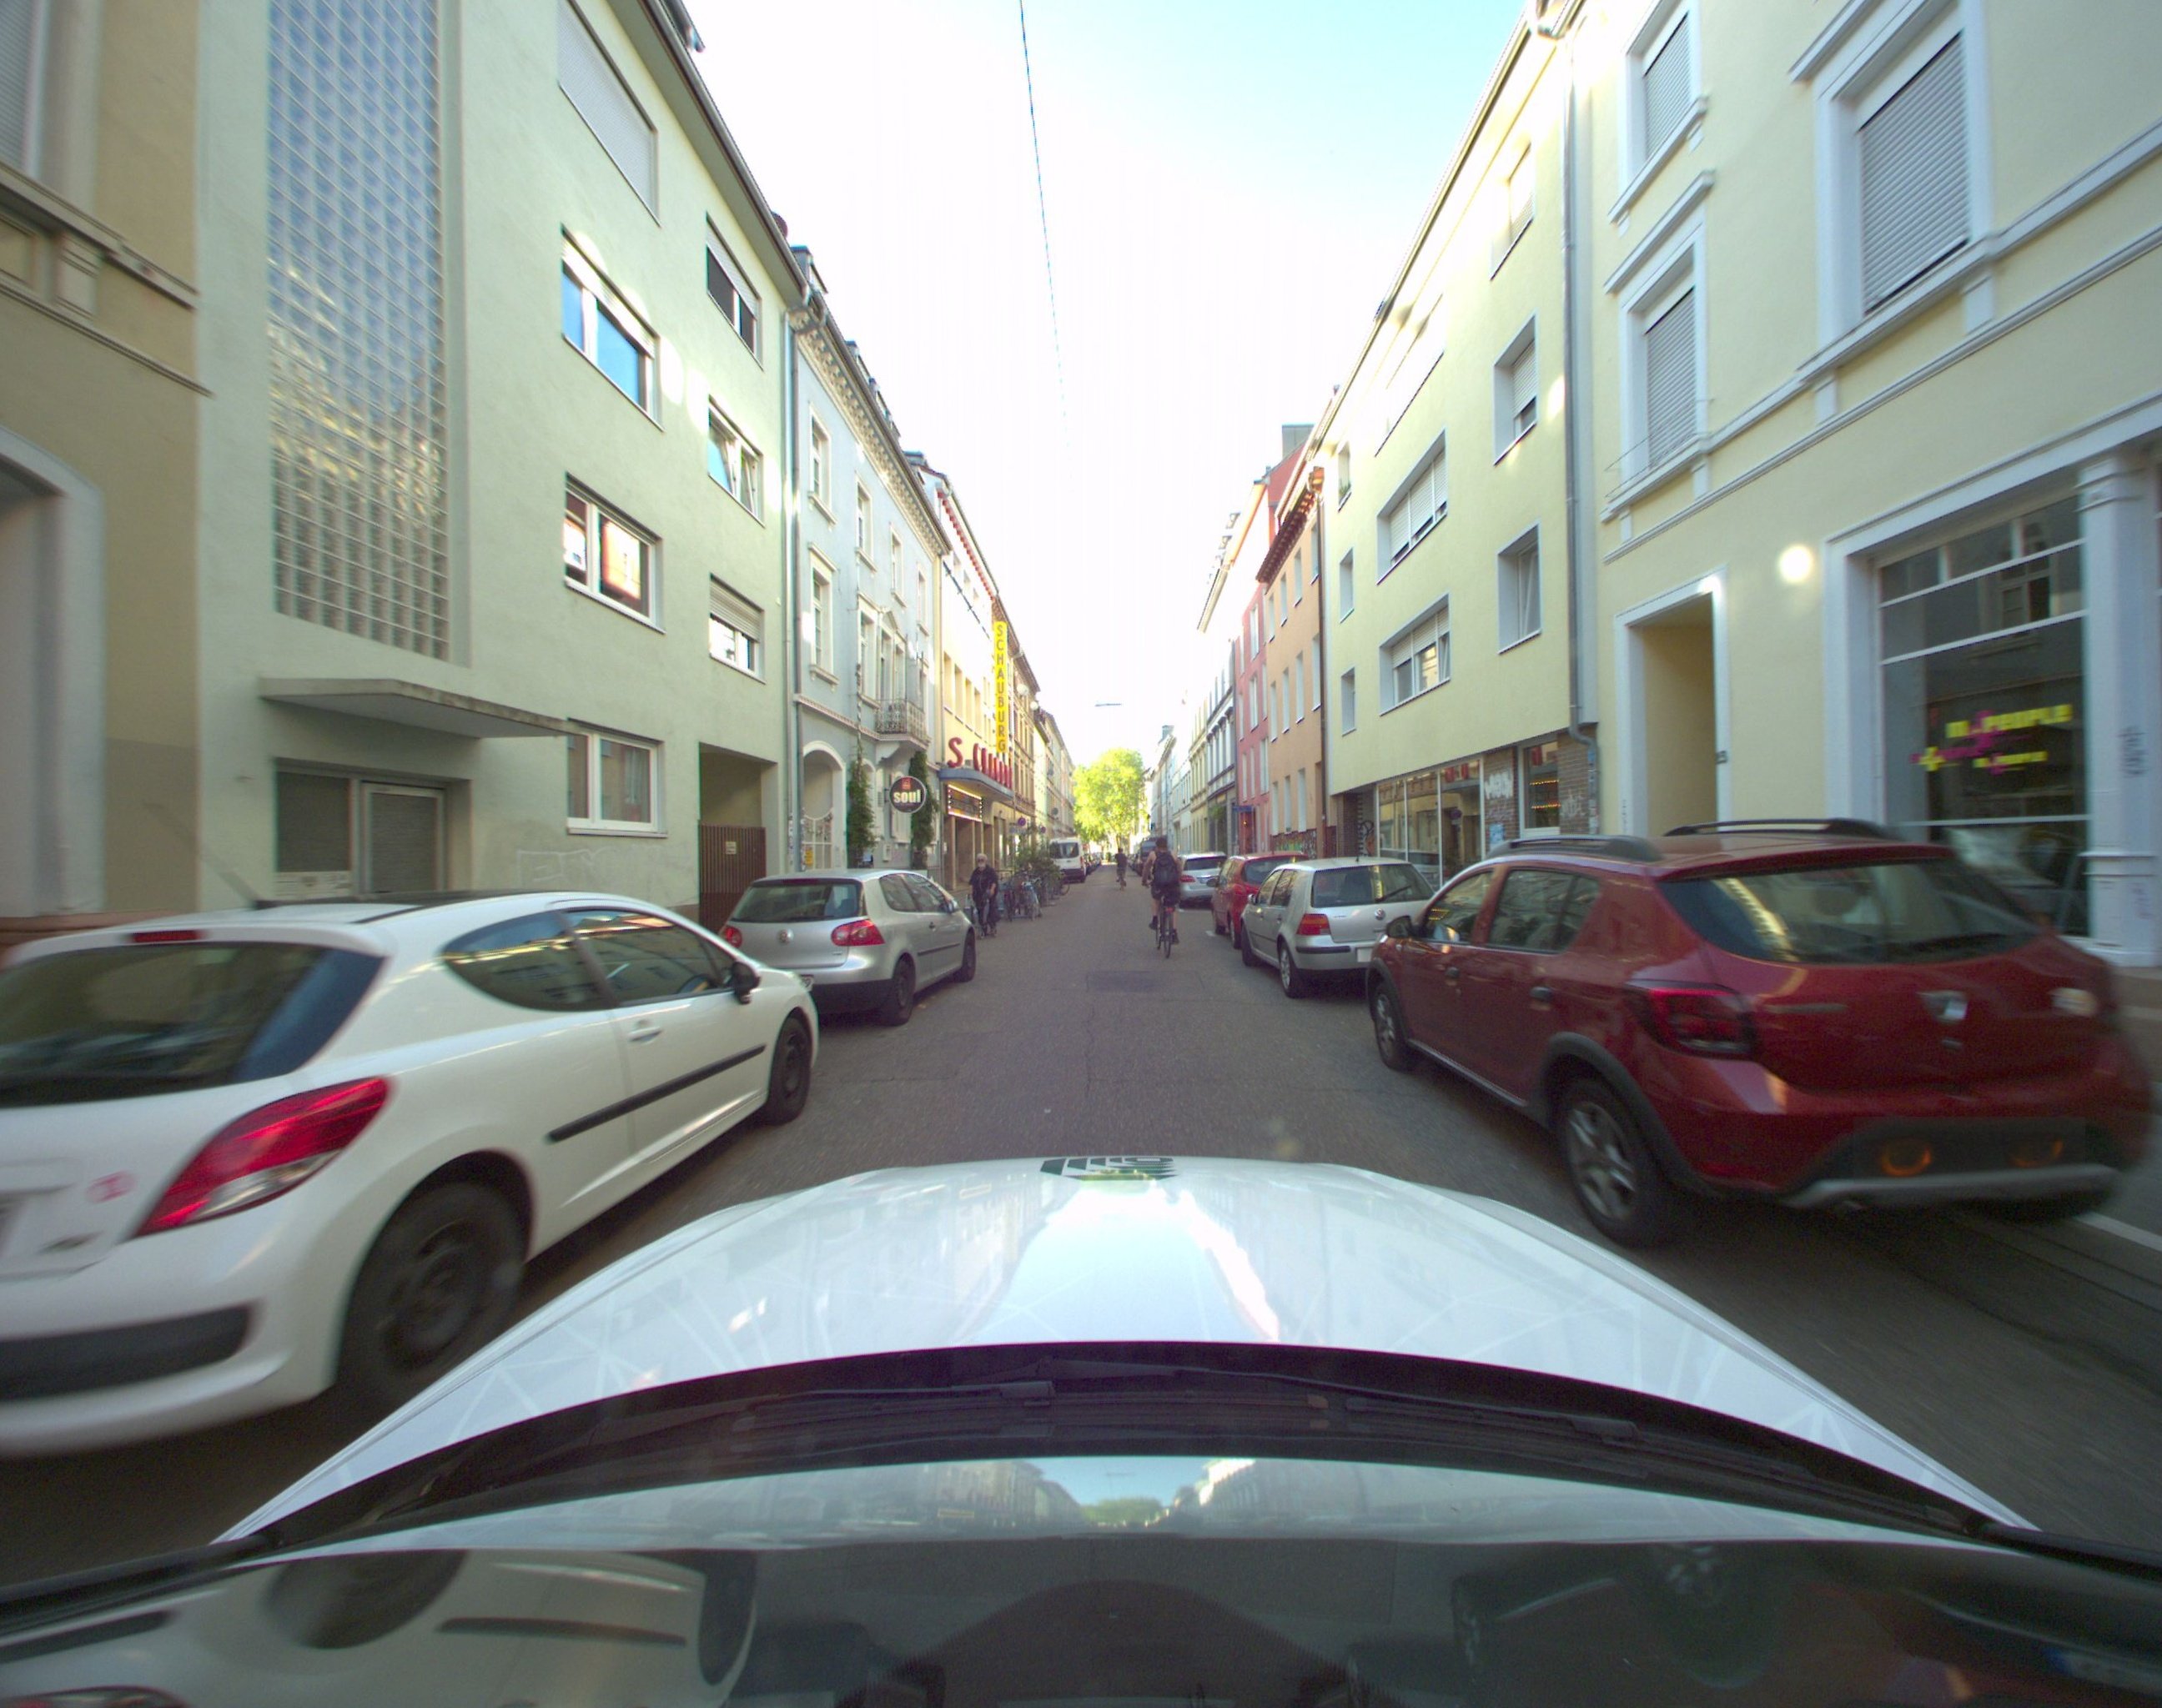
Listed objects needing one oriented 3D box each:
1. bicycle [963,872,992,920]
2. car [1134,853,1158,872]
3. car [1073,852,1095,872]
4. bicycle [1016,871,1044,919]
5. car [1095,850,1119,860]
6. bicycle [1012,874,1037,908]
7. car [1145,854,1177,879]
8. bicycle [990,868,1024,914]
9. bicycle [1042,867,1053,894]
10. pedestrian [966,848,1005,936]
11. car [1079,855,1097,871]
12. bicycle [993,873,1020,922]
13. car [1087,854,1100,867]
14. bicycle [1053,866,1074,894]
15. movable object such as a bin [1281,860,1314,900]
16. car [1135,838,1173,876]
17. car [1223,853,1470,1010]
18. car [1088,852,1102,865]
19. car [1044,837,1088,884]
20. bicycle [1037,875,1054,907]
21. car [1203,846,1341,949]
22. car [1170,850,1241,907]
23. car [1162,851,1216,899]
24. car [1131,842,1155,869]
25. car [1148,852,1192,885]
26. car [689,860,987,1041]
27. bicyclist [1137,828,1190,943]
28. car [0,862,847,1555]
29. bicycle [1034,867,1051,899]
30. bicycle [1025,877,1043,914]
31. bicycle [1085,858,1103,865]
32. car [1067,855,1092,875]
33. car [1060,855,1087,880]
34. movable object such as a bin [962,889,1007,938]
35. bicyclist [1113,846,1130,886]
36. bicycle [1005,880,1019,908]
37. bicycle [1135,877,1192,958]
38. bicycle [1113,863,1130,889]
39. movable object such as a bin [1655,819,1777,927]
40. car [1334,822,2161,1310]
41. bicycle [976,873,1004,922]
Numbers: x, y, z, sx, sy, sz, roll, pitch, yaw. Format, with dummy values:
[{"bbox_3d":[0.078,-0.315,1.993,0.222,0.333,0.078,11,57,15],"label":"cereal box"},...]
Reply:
[{"bbox_3d":[-2.581,1.038,20.455,0.441,1.105,1.698,0,0,2],"label":"bicycle"},{"bbox_3d":[5.420,0.704,68.200,1.739,1.485,4.245,-2,0,2],"label":"car"},{"bbox_3d":[0.296,0.713,75.241,1.794,1.698,4.002,-4,0,2],"label":"car"},{"bbox_3d":[-1.255,1.004,20.336,0.497,1.105,1.830,0,0,2],"label":"bicycle"},{"bbox_3d":[4.890,0.112,154.124,4.458,1.759,1.865,-2,0,-3],"label":"car"},{"bbox_3d":[-1.716,1.121,24.846,0.551,0.944,1.573,-2,0,3],"label":"bicycle"},{"bbox_3d":[4.934,0.751,50.644,1.740,1.444,4.174,-1,0,2],"label":"car"},{"bbox_3d":[-1.976,0.982,21.956,0.810,1.175,0.920,-1,0,0],"label":"bicycle"},{"bbox_3d":[-1.375,1.063,33.420,0.441,1.047,1.864,0,0,-1],"label":"bicycle"},{"bbox_3d":[-1.903,0.744,16.292,0.711,1.708,0.671,0,-1,-3],"label":"pedestrian"},{"bbox_3d":[0.692,0.870,80.212,1.585,1.440,3.656,-2,0,3],"label":"car"},{"bbox_3d":[-1.841,1.054,20.317,0.441,1.105,1.932,0,0,2],"label":"bicycle"},{"bbox_3d":[1.524,0.781,102.581,1.540,1.550,3.464,-2,0,-1],"label":"car"},{"bbox_3d":[-0.704,1.019,32.336,0.461,1.047,1.742,0,0,-13],"label":"bicycle"},{"bbox_3d":[6.075,0.712,22.875,0.689,1.058,0.737,-4,0,2],"label":"movable object such as a bin"},{"bbox_3d":[5.005,0.177,56.881,2.167,2.425,6.312,-3,0,2],"label":"car"},{"bbox_3d":[2.960,0.757,10.047,1.682,1.453,4.194,-3,0,1],"label":"car"},{"bbox_3d":[2.022,0.639,114.781,1.781,1.737,3.877,-2,0,2],"label":"car"},{"bbox_3d":[-0.793,0.336,46.882,2.160,2.452,5.922,-3,0,1],"label":"car"},{"bbox_3d":[-1.096,1.129,25.179,0.388,0.916,1.394,-2,0,3],"label":"bicycle"},{"bbox_3d":[3.275,0.678,14.674,1.690,1.523,3.984,-3,0,3],"label":"car"},{"bbox_3d":[3.718,0.680,24.881,1.738,1.556,4.175,-1,0,3],"label":"car"},{"bbox_3d":[3.881,0.714,29.696,1.595,1.539,3.453,-4,0,3],"label":"car"},{"bbox_3d":[6.354,0.150,83.468,2.194,2.551,6.043,-2,0,4],"label":"car"},{"bbox_3d":[4.515,0.713,41.750,1.780,1.454,4.549,-4,0,2],"label":"car"},{"bbox_3d":[-2.332,0.848,8.989,1.672,1.454,4.040,-3,0,6],"label":"car"},{"bbox_3d":[1.247,0.462,12.514,0.737,1.679,1.117,0,0,2],"label":"bicyclist"},{"bbox_3d":[-2.634,0.814,3.790,1.783,1.451,4.001,-2,0,2],"label":"car"},{"bbox_3d":[-1.364,1.006,28.820,0.544,1.094,1.881,0,0,-1],"label":"bicycle"},{"bbox_3d":[-1.267,1.108,21.935,0.320,0.916,1.291,-2,0,3],"label":"bicycle"},{"bbox_3d":[2.001,1.160,124.236,2.707,0.892,0.618,-2,0,-1],"label":"bicycle"},{"bbox_3d":[-0.067,0.821,64.219,1.856,1.440,4.645,-2,0,0],"label":"car"},{"bbox_3d":[-0.448,0.851,52.931,1.640,1.447,3.840,-2,0,1],"label":"car"},{"bbox_3d":[-1.862,1.135,15.754,0.843,0.897,0.585,0,-1,-5],"label":"movable object such as a bin"},{"bbox_3d":[1.718,0.514,34.560,0.667,1.658,0.877,-2,0,2],"label":"bicyclist"},{"bbox_3d":[-2.148,1.232,25.410,0.255,0.817,1.300,-1,0,3],"label":"bicycle"},{"bbox_3d":[1.252,0.933,12.705,0.737,1.100,2.043,0,0,2],"label":"bicycle"},{"bbox_3d":[1.718,0.923,34.536,0.661,1.037,1.960,-2,0,2],"label":"bicycle"},{"bbox_3d":[5.745,0.166,7.395,0.704,0.935,0.511,-1,0,1],"label":"movable object such as a bin"},{"bbox_3d":[2.899,0.688,4.645,1.782,1.551,4.002,-2,0,2],"label":"car"},{"bbox_3d":[-2.208,1.036,19.887,0.442,1.105,1.874,0,0,1],"label":"bicycle"}]
